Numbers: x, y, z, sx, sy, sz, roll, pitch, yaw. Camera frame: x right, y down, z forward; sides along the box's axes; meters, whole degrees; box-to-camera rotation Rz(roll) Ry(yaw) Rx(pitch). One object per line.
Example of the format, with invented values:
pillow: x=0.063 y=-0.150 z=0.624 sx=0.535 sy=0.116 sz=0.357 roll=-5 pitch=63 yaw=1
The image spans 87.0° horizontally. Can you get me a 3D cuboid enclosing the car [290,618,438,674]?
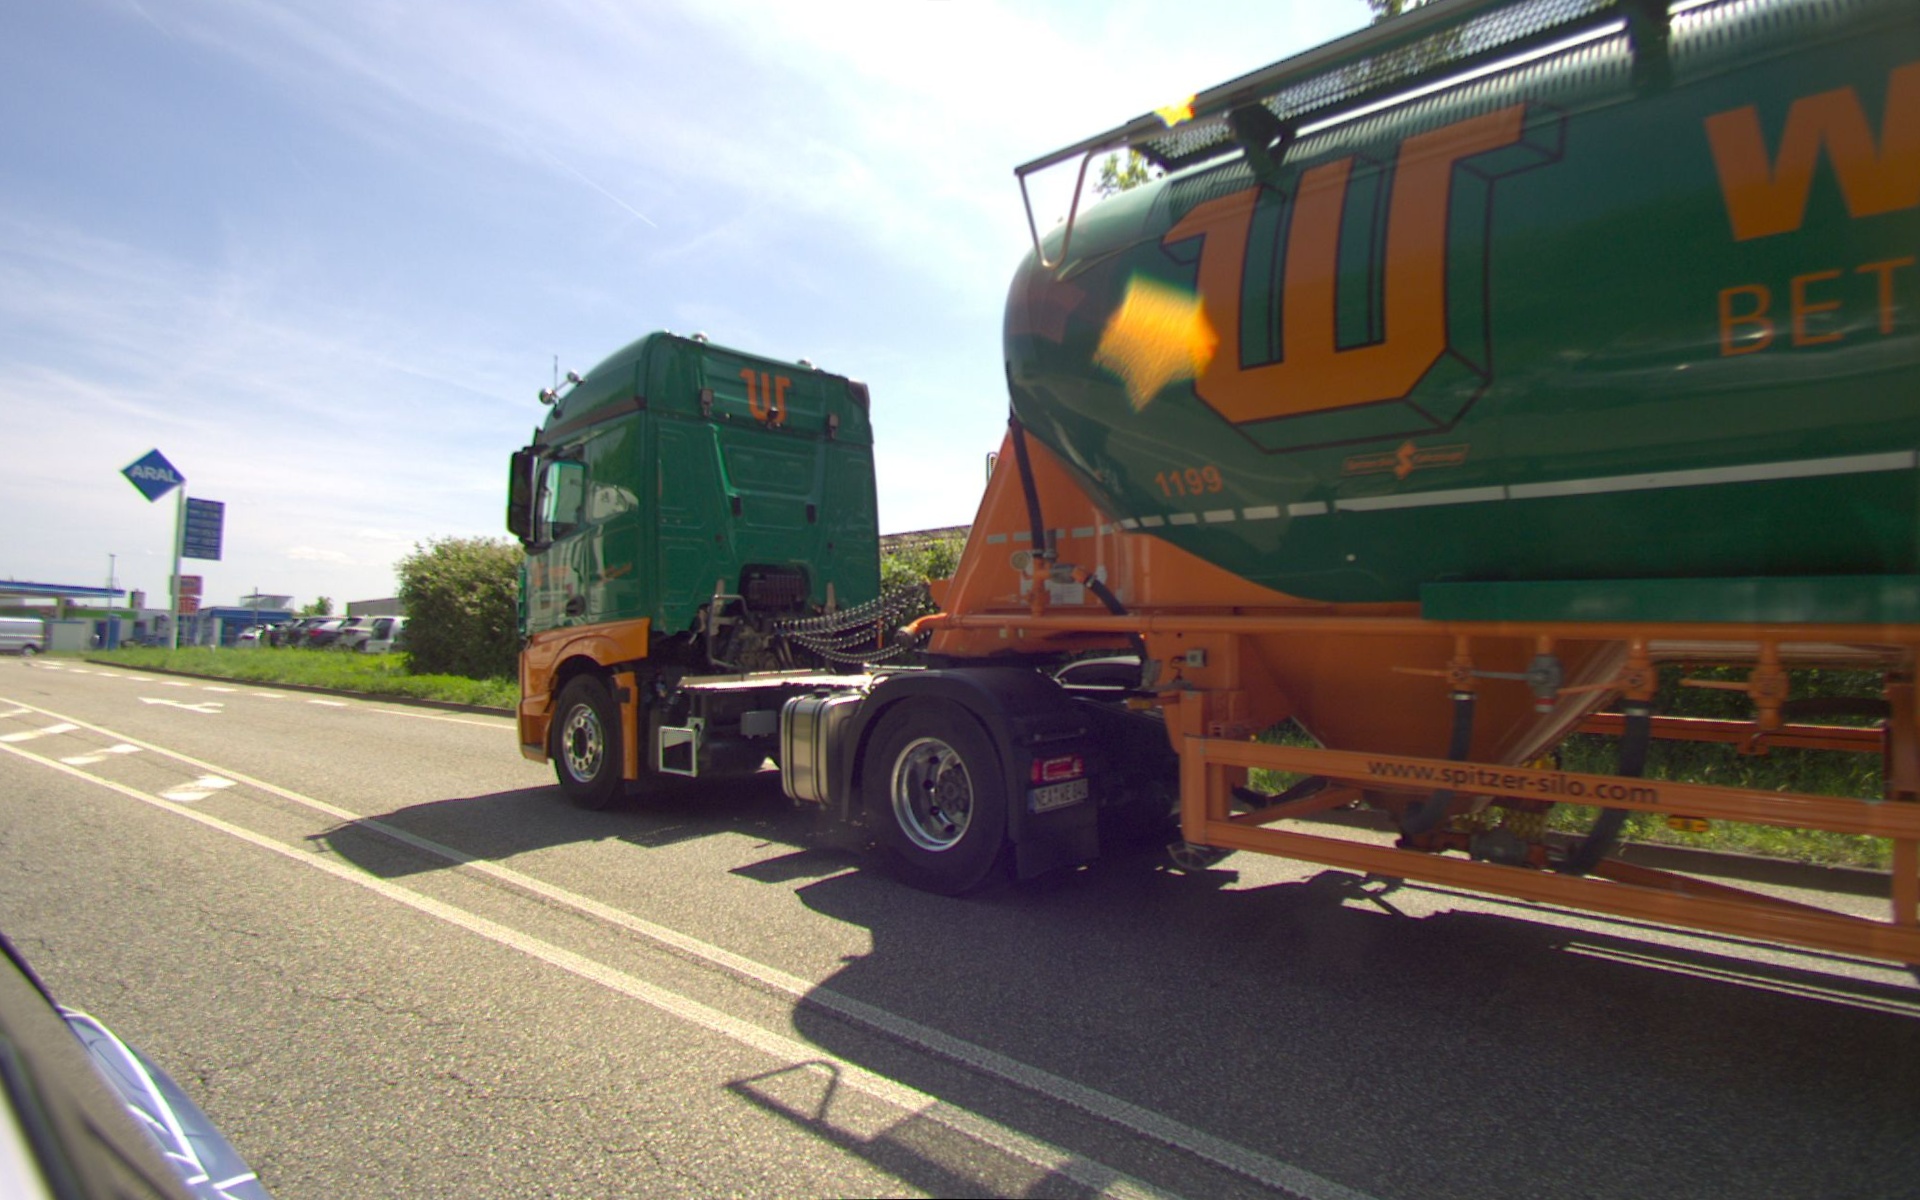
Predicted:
car: x=-20.386 y=1.613 z=34.696 sx=2.001 sy=1.763 sz=3.942 roll=-3 pitch=-5 yaw=44

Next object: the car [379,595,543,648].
car: x=-14.768 y=0.704 z=30.105 sx=1.819 sy=1.373 sz=3.944 roll=-2 pitch=-5 yaw=41

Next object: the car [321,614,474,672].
car: x=-18.503 y=1.476 z=33.398 sx=2.001 sy=1.763 sz=3.942 roll=-3 pitch=-5 yaw=44

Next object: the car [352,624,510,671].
car: x=-16.474 y=1.520 z=31.659 sx=1.833 sy=1.327 sz=3.944 roll=-2 pitch=-5 yaw=42

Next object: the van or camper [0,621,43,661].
van or camper: x=-47.537 y=1.993 z=48.606 sx=1.889 sy=1.919 sz=4.832 roll=-2 pitch=-3 yaw=19

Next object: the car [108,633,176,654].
car: x=-65.004 y=3.471 z=80.482 sx=3.933 sy=1.619 sz=1.952 roll=3 pitch=-4 yaw=-33

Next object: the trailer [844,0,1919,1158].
trailer: x=3.474 y=-0.427 z=3.626 sx=8.914 sy=3.848 sz=2.549 roll=-1 pitch=-1 yaw=43

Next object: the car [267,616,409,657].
car: x=-22.417 y=1.360 z=36.550 sx=2.001 sy=1.342 sz=3.942 roll=-3 pitch=-5 yaw=44

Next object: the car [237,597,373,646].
car: x=-24.634 y=0.835 z=38.156 sx=2.001 sy=1.763 sz=3.941 roll=-1 pitch=-2 yaw=45

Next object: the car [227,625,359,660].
car: x=-27.586 y=1.772 z=41.956 sx=2.000 sy=1.369 sz=4.190 roll=-2 pitch=-3 yaw=43

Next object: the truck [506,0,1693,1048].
truck: x=-0.058 y=-0.356 z=6.850 sx=7.873 sy=3.708 sz=2.551 roll=-1 pitch=-1 yaw=42
